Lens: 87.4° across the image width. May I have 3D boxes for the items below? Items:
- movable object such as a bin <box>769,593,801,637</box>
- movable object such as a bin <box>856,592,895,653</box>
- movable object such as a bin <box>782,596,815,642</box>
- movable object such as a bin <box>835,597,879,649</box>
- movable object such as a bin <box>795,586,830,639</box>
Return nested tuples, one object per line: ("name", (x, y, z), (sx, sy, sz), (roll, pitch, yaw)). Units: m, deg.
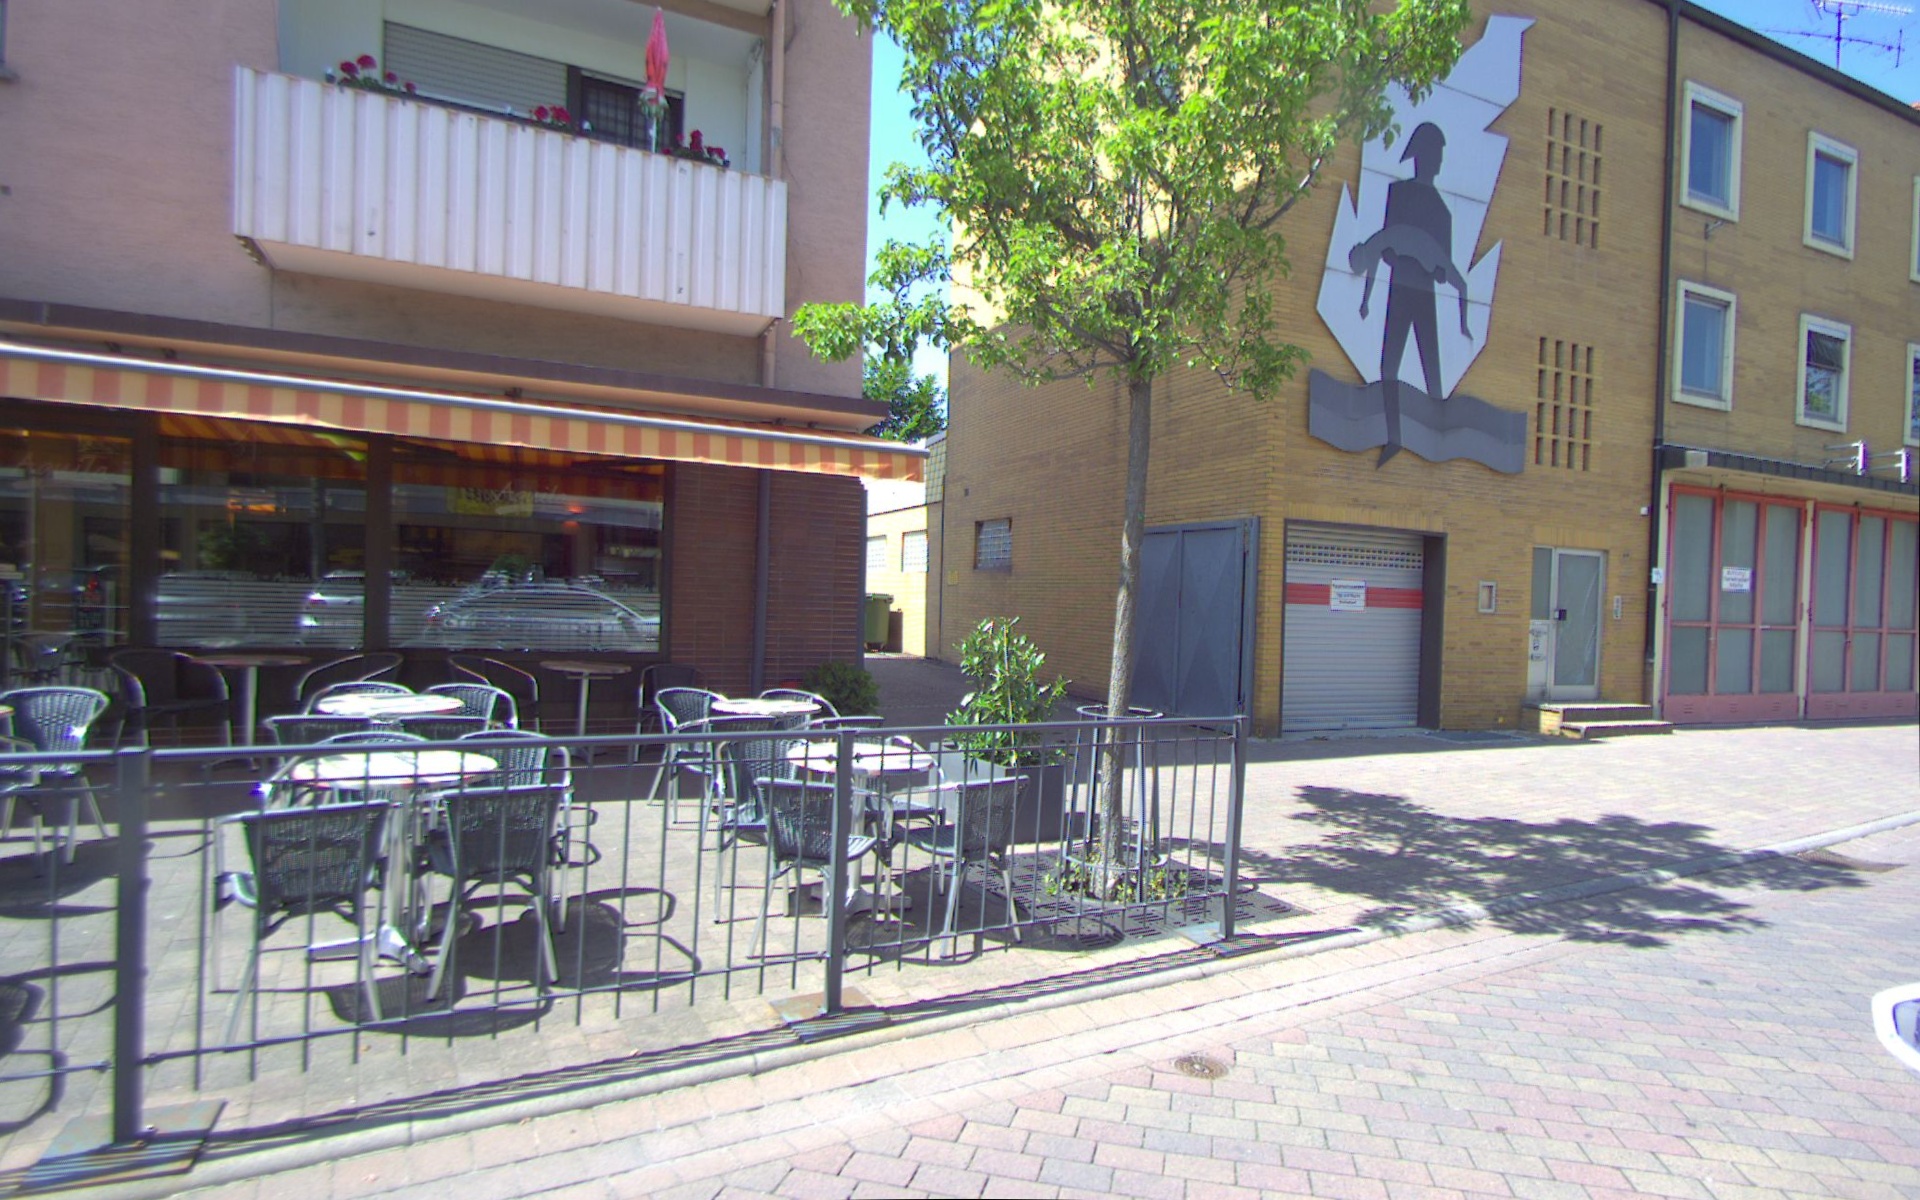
("movable object such as a bin", (-4.865, 0.405, 27.908), (0.699, 1.182, 0.691), (2, 0, -22))
("movable object such as a bin", (-1.868, 0.492, 22.261), (0.722, 1.325, 0.476), (2, 0, -24))
("movable object such as a bin", (-4.319, 0.502, 26.785), (0.699, 1.182, 0.691), (2, 0, -22))
("movable object such as a bin", (-2.409, 0.531, 23.436), (0.873, 1.193, 0.523), (2, 0, -26))
("movable object such as a bin", (-3.791, 0.323, 25.753), (0.699, 1.313, 0.691), (2, 0, -22))
